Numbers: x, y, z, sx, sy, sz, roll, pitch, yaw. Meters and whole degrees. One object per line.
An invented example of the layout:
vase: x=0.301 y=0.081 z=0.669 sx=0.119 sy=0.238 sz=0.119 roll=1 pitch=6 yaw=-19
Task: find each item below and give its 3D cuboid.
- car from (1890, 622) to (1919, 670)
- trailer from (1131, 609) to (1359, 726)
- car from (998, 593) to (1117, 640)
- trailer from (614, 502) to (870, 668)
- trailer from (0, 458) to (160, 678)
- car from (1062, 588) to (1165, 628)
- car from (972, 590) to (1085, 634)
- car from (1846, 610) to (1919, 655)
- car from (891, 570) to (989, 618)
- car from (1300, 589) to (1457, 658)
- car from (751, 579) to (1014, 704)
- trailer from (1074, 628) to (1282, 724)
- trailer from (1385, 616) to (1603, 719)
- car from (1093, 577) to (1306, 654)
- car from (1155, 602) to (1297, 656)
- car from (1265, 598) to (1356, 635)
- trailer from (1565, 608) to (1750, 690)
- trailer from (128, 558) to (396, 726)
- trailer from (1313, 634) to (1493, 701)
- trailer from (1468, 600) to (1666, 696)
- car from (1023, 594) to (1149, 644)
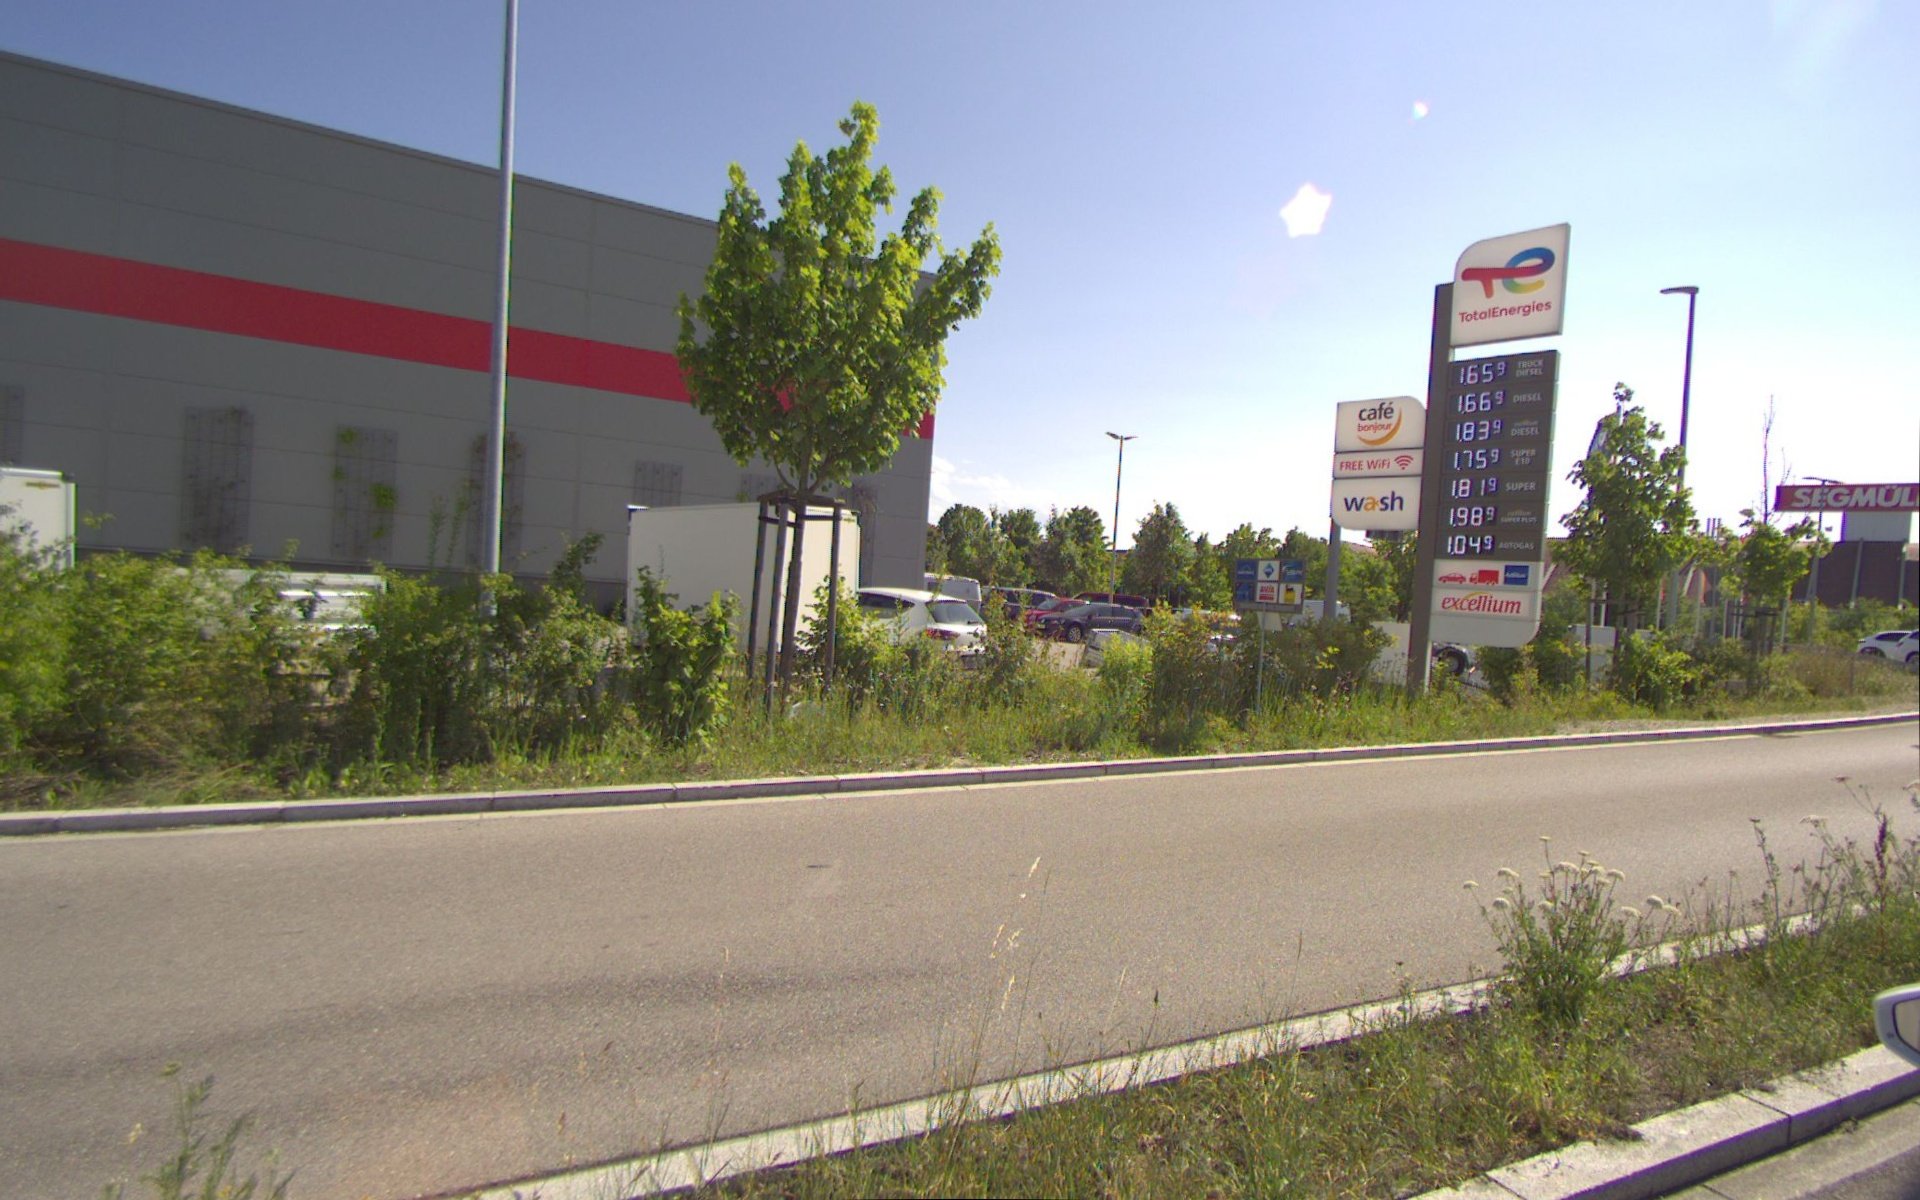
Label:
car: x=28.659 y=1.429 z=27.964 sx=1.541 sy=1.370 sz=4.341 roll=3 pitch=2 yaw=2
trailer: x=4.540 y=1.012 z=16.243 sx=1.539 sy=1.503 sz=3.148 roll=1 pitch=2 yaw=-45
car: x=3.607 y=0.610 z=37.127 sx=3.944 sy=1.483 sz=1.815 roll=3 pitch=2 yaw=-24
trailer: x=-3.077 y=-0.259 z=14.060 sx=3.186 sy=2.041 sz=1.742 roll=4 pitch=2 yaw=35
trailer: x=-9.853 y=-0.371 z=10.311 sx=2.694 sy=2.040 sz=1.991 roll=4 pitch=2 yaw=39
car: x=6.785 y=0.342 z=44.636 sx=4.365 sy=1.483 sz=1.826 roll=3 pitch=2 yaw=7
car: x=2.660 y=0.468 z=39.093 sx=3.945 sy=1.483 sz=1.814 roll=2 pitch=2 yaw=-24
car: x=35.998 y=1.275 z=37.323 sx=1.771 sy=1.550 sz=4.251 roll=3 pitch=1 yaw=-31
car: x=-0.970 y=-0.286 z=48.695 sx=4.295 sy=2.040 sz=1.890 roll=2 pitch=2 yaw=-28
car: x=10.882 y=0.621 z=26.128 sx=3.696 sy=1.573 sz=1.732 roll=2 pitch=2 yaw=-27
car: x=-1.288 y=0.569 z=15.836 sx=3.935 sy=1.557 sz=1.713 roll=4 pitch=2 yaw=37
trailer: x=3.257 y=1.088 z=15.142 sx=2.730 sy=1.100 sz=1.316 roll=4 pitch=2 yaw=36
trailer: x=10.719 y=1.279 z=20.272 sx=3.633 sy=1.471 sz=1.704 roll=7 pitch=4 yaw=32
car: x=5.368 y=0.357 z=22.522 sx=4.435 sy=1.503 sz=1.793 roll=2 pitch=2 yaw=-24
car: x=7.970 y=0.869 z=30.049 sx=3.952 sy=1.483 sz=1.811 roll=2 pitch=-1 yaw=-29
car: x=25.370 y=1.163 z=72.976 sx=2.019 sy=2.264 sz=6.213 roll=2 pitch=2 yaw=-34
trailer: x=17.313 y=1.147 z=25.160 sx=3.632 sy=1.795 sz=1.803 roll=2 pitch=1 yaw=32
trailer: x=-8.123 y=0.376 z=11.588 sx=3.544 sy=1.530 sz=1.593 roll=4 pitch=3 yaw=39
trailer: x=8.303 y=1.218 z=18.826 sx=2.789 sy=0.894 sz=1.861 roll=4 pitch=2 yaw=33
trailer: x=13.681 y=1.012 z=22.801 sx=3.632 sy=1.795 sz=1.803 roll=4 pitch=2 yaw=32
car: x=4.369 y=0.670 z=34.875 sx=3.945 sy=1.483 sz=1.814 roll=2 pitch=2 yaw=-24
